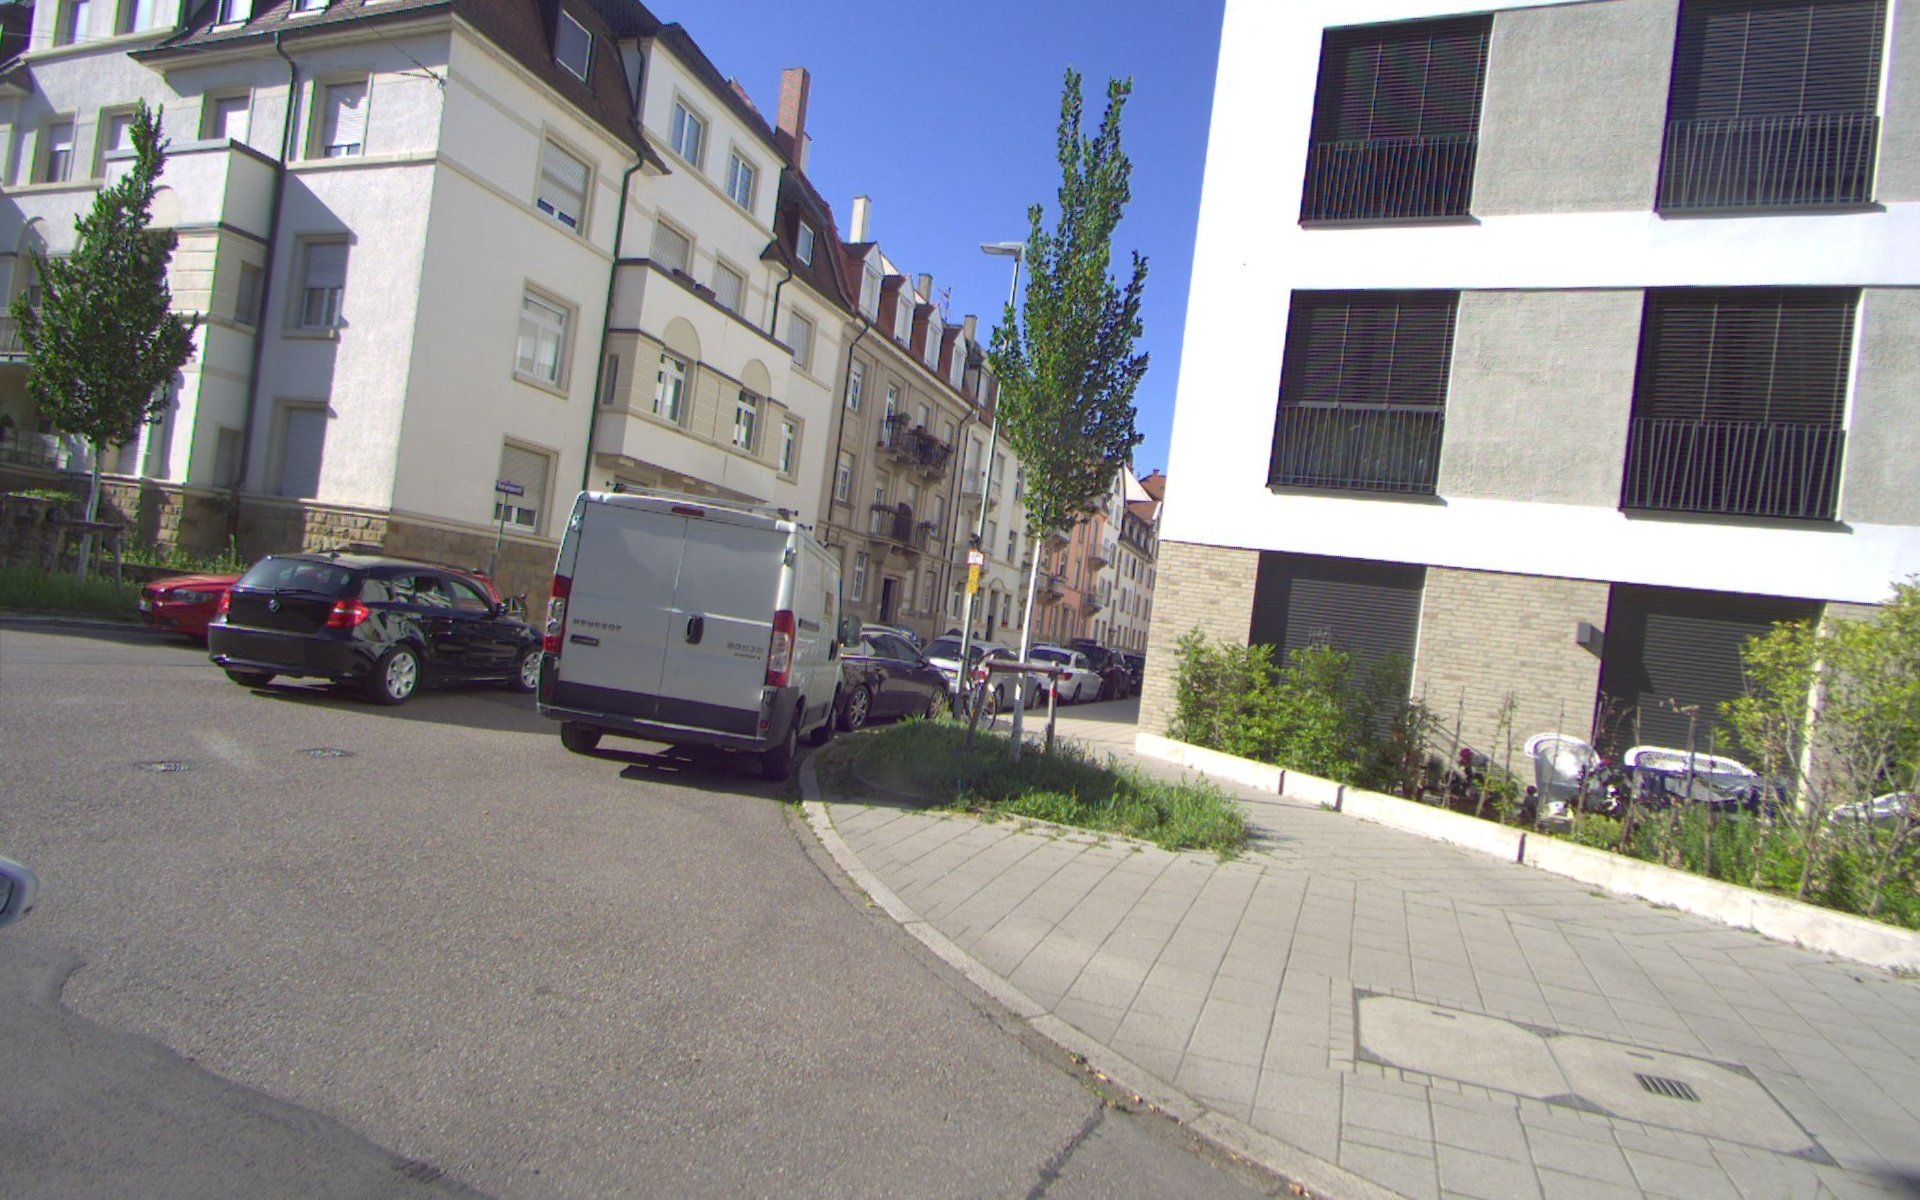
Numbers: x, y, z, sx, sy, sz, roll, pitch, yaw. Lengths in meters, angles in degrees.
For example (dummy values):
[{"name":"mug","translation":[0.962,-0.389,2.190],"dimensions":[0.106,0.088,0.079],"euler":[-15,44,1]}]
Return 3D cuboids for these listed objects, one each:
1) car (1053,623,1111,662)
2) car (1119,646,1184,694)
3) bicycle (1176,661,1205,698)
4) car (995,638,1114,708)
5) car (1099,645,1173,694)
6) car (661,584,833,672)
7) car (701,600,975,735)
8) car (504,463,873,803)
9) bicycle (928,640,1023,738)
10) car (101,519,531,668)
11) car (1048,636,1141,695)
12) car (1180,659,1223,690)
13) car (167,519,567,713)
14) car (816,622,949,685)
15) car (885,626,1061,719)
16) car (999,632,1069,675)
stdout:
[{"name":"car","translation":[6.993,2.466,57.190],"dimensions":[2.056,1.752,4.819],"euler":[7,-2,20]},{"name":"car","translation":[8.329,3.052,43.466],"dimensions":[1.929,1.704,4.534],"euler":[7,-3,20]},{"name":"bicycle","translation":[8.989,3.114,39.190],"dimensions":[0.424,1.338,1.827],"euler":[6,-2,32]},{"name":"car","translation":[2.696,2.025,27.404],"dimensions":[1.929,1.486,4.950],"euler":[7,-3,20]},{"name":"car","translation":[6.819,2.720,38.656],"dimensions":[1.929,1.486,4.534],"euler":[7,-3,20]},{"name":"car","translation":[-4.859,0.722,23.587],"dimensions":[1.800,1.660,4.186],"euler":[7,-1,21]},{"name":"car","translation":[-1.605,1.029,15.436],"dimensions":[2.010,1.487,4.946],"euler":[7,-1,20]},{"name":"car","translation":[-2.293,0.315,10.236],"dimensions":[2.194,2.333,5.058],"euler":[7,-1,-1]},{"name":"bicycle","translation":[0.180,1.236,14.435],"dimensions":[0.653,1.187,1.986],"euler":[8,-2,-17]},{"name":"car","translation":[-8.908,-0.002,14.359],"dimensions":[1.923,1.486,4.721],"euler":[6,-2,36]},{"name":"car","translation":[4.408,2.161,32.266],"dimensions":[1.929,1.486,4.534],"euler":[7,-3,20]},{"name":"car","translation":[14.694,4.546,60.979],"dimensions":[1.929,1.486,4.534],"euler":[7,-3,20]},{"name":"car","translation":[-6.140,0.185,11.074],"dimensions":[1.755,1.542,4.001],"euler":[7,-1,2]},{"name":"car","translation":[-2.197,1.671,30.193],"dimensions":[1.794,1.486,4.946],"euler":[7,-2,23]},{"name":"car","translation":[0.439,1.532,21.168],"dimensions":[1.925,1.445,4.946],"euler":[9,-1,21]},{"name":"car","translation":[3.508,2.529,46.743],"dimensions":[1.963,1.569,4.438],"euler":[7,-2,20]}]
